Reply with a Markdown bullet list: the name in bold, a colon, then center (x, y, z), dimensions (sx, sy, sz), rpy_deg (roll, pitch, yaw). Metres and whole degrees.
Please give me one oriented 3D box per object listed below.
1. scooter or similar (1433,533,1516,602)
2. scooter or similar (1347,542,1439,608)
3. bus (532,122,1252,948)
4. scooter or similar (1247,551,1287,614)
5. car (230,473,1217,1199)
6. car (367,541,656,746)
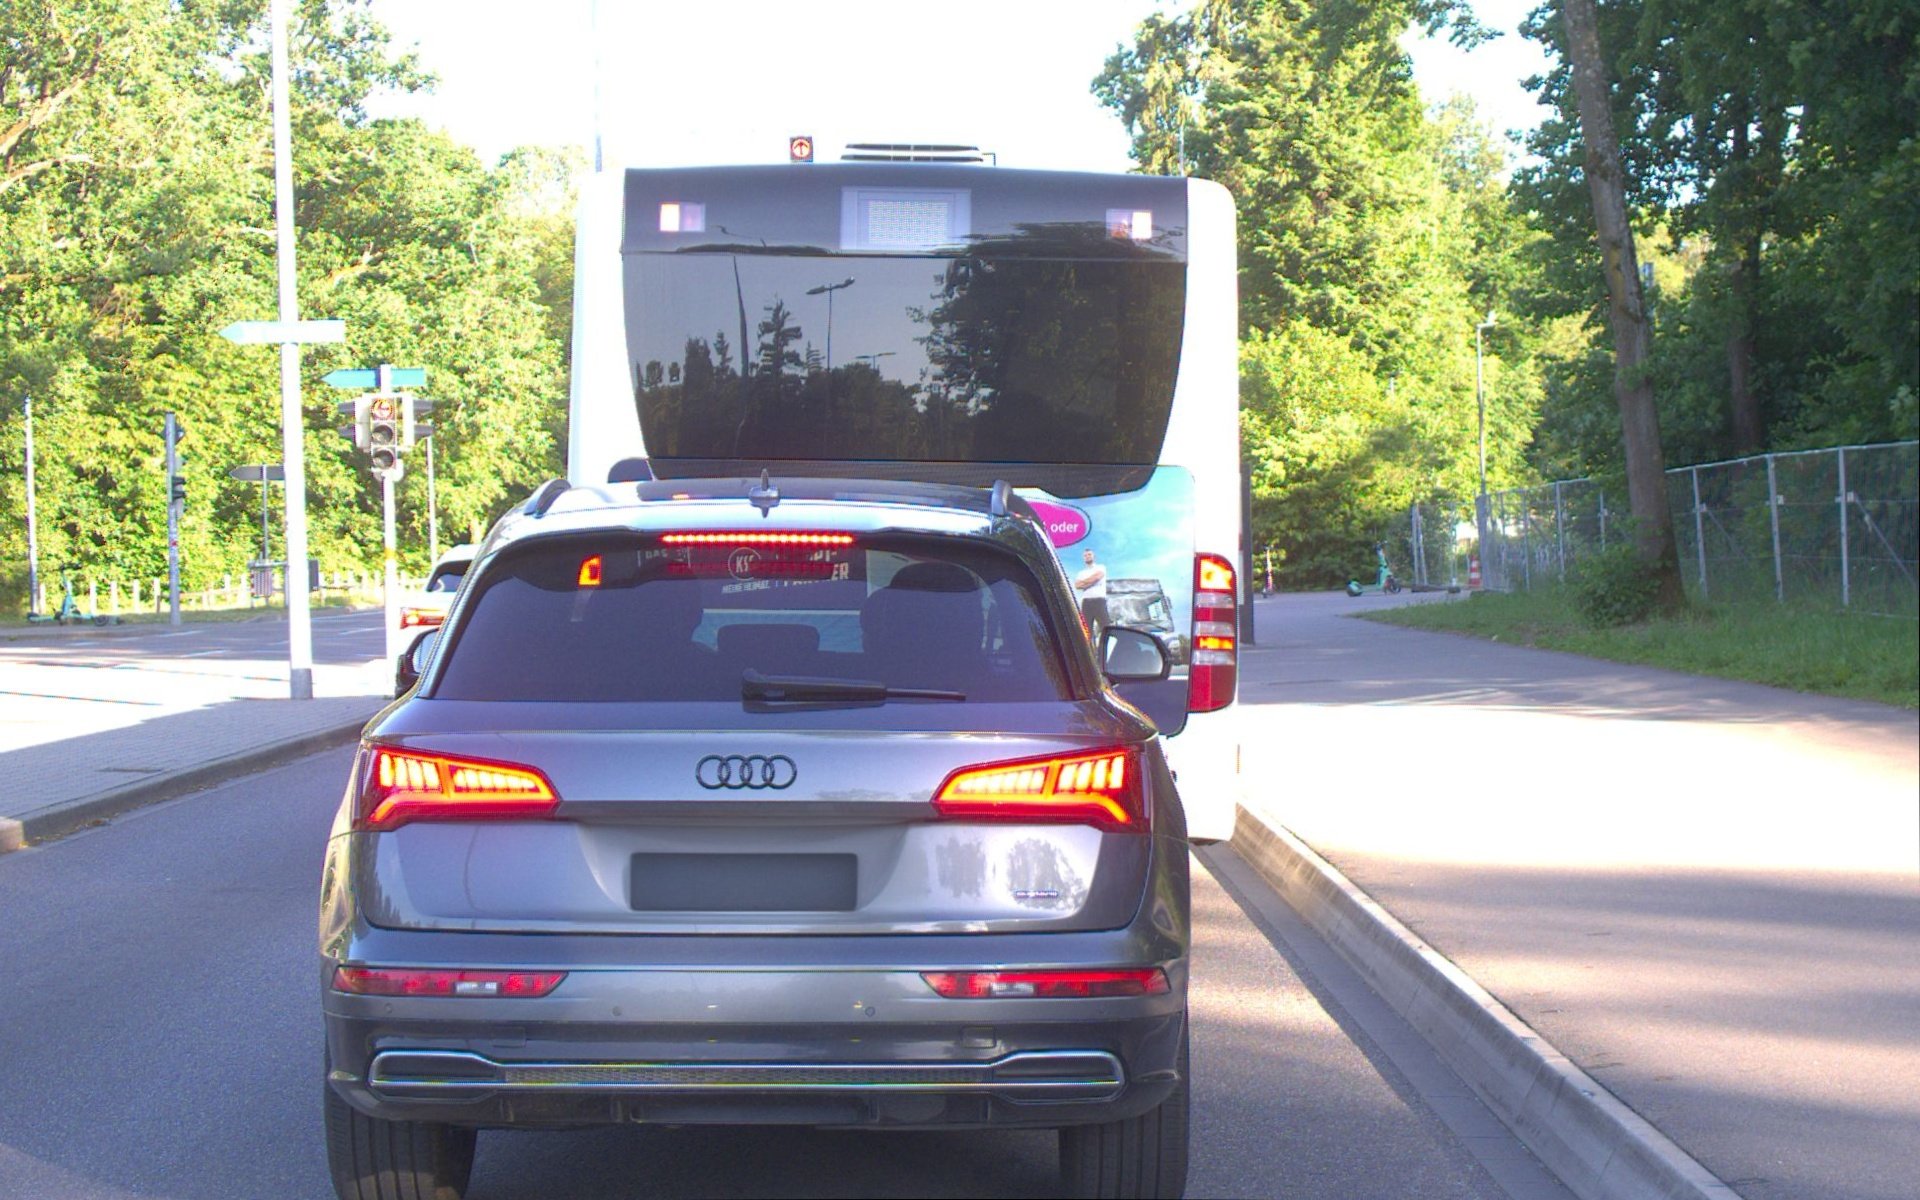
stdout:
- **scooter or similar**: center (11.892, -0.752, 79.507), dimensions (0.539, 1.562, 2.022), rpy_deg (-3, 1, -40)
- **scooter or similar**: center (9.854, -0.569, 78.214), dimensions (2.015, 1.439, 0.606), rpy_deg (-2, 1, -25)
- **bus**: center (-0.300, -0.269, 17.094), dimensions (2.594, 2.979, 9.327), rpy_deg (0, 0, -1)
- **scooter or similar**: center (7.220, -0.418, 80.914), dimensions (0.508, 1.439, 2.023), rpy_deg (-2, 1, -6)
- **car**: center (-0.482, 0.540, 8.652), dimensions (1.898, 1.626, 4.000), rpy_deg (0, 1, -1)
- **car**: center (-3.537, 0.291, 27.751), dimensions (1.836, 1.513, 4.000), rpy_deg (-1, 1, -1)
